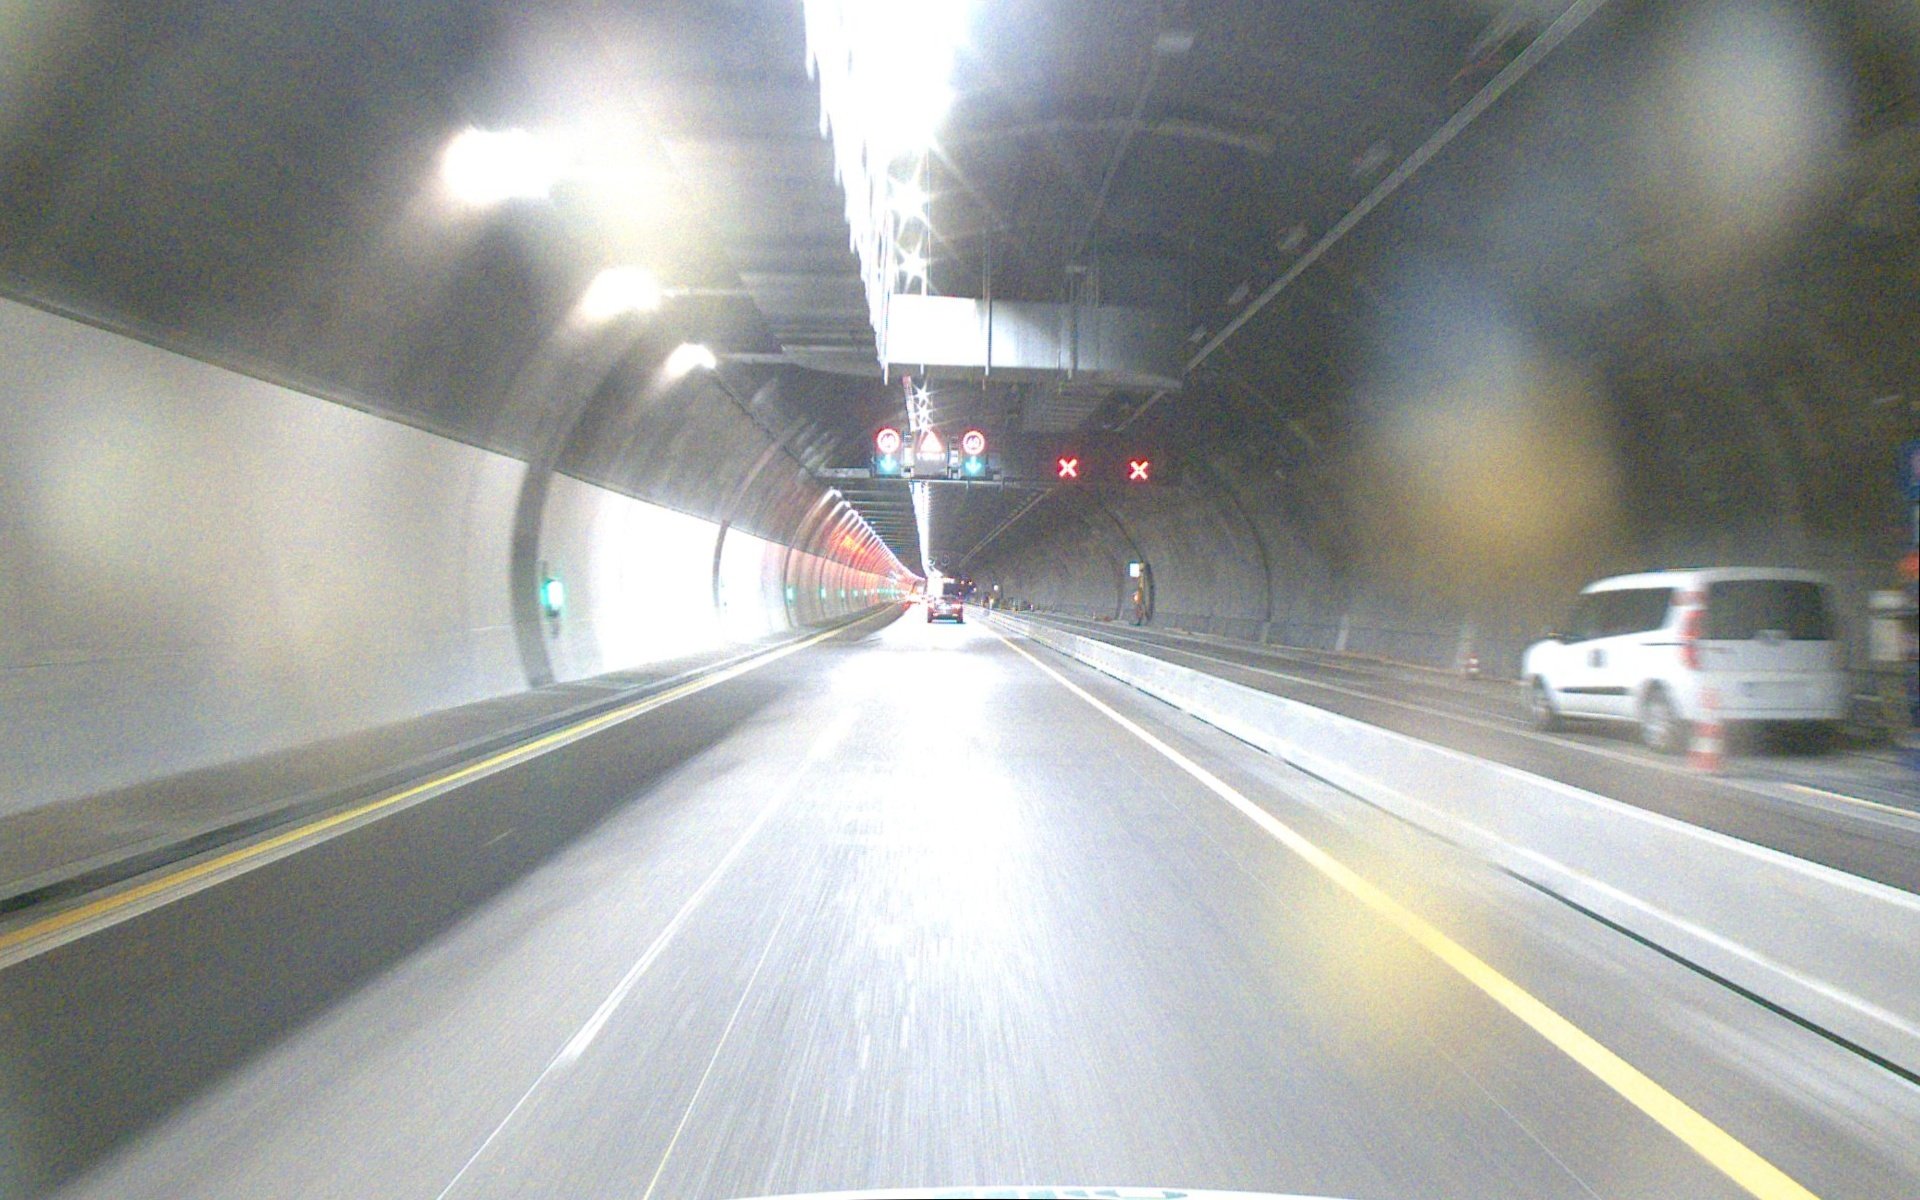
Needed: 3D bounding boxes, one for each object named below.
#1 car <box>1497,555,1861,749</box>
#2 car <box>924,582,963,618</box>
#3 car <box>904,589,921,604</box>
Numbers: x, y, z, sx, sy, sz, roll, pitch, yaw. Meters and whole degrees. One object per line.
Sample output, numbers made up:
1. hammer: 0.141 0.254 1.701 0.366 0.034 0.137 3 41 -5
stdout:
1. car: 7.747 0.488 18.393 1.717 1.877 4.641 0 0 -5
2. car: -0.900 -0.027 86.049 1.908 1.826 3.998 1 0 -2
3. car: -5.493 -0.376 193.296 1.891 1.716 4.000 1 0 -1
